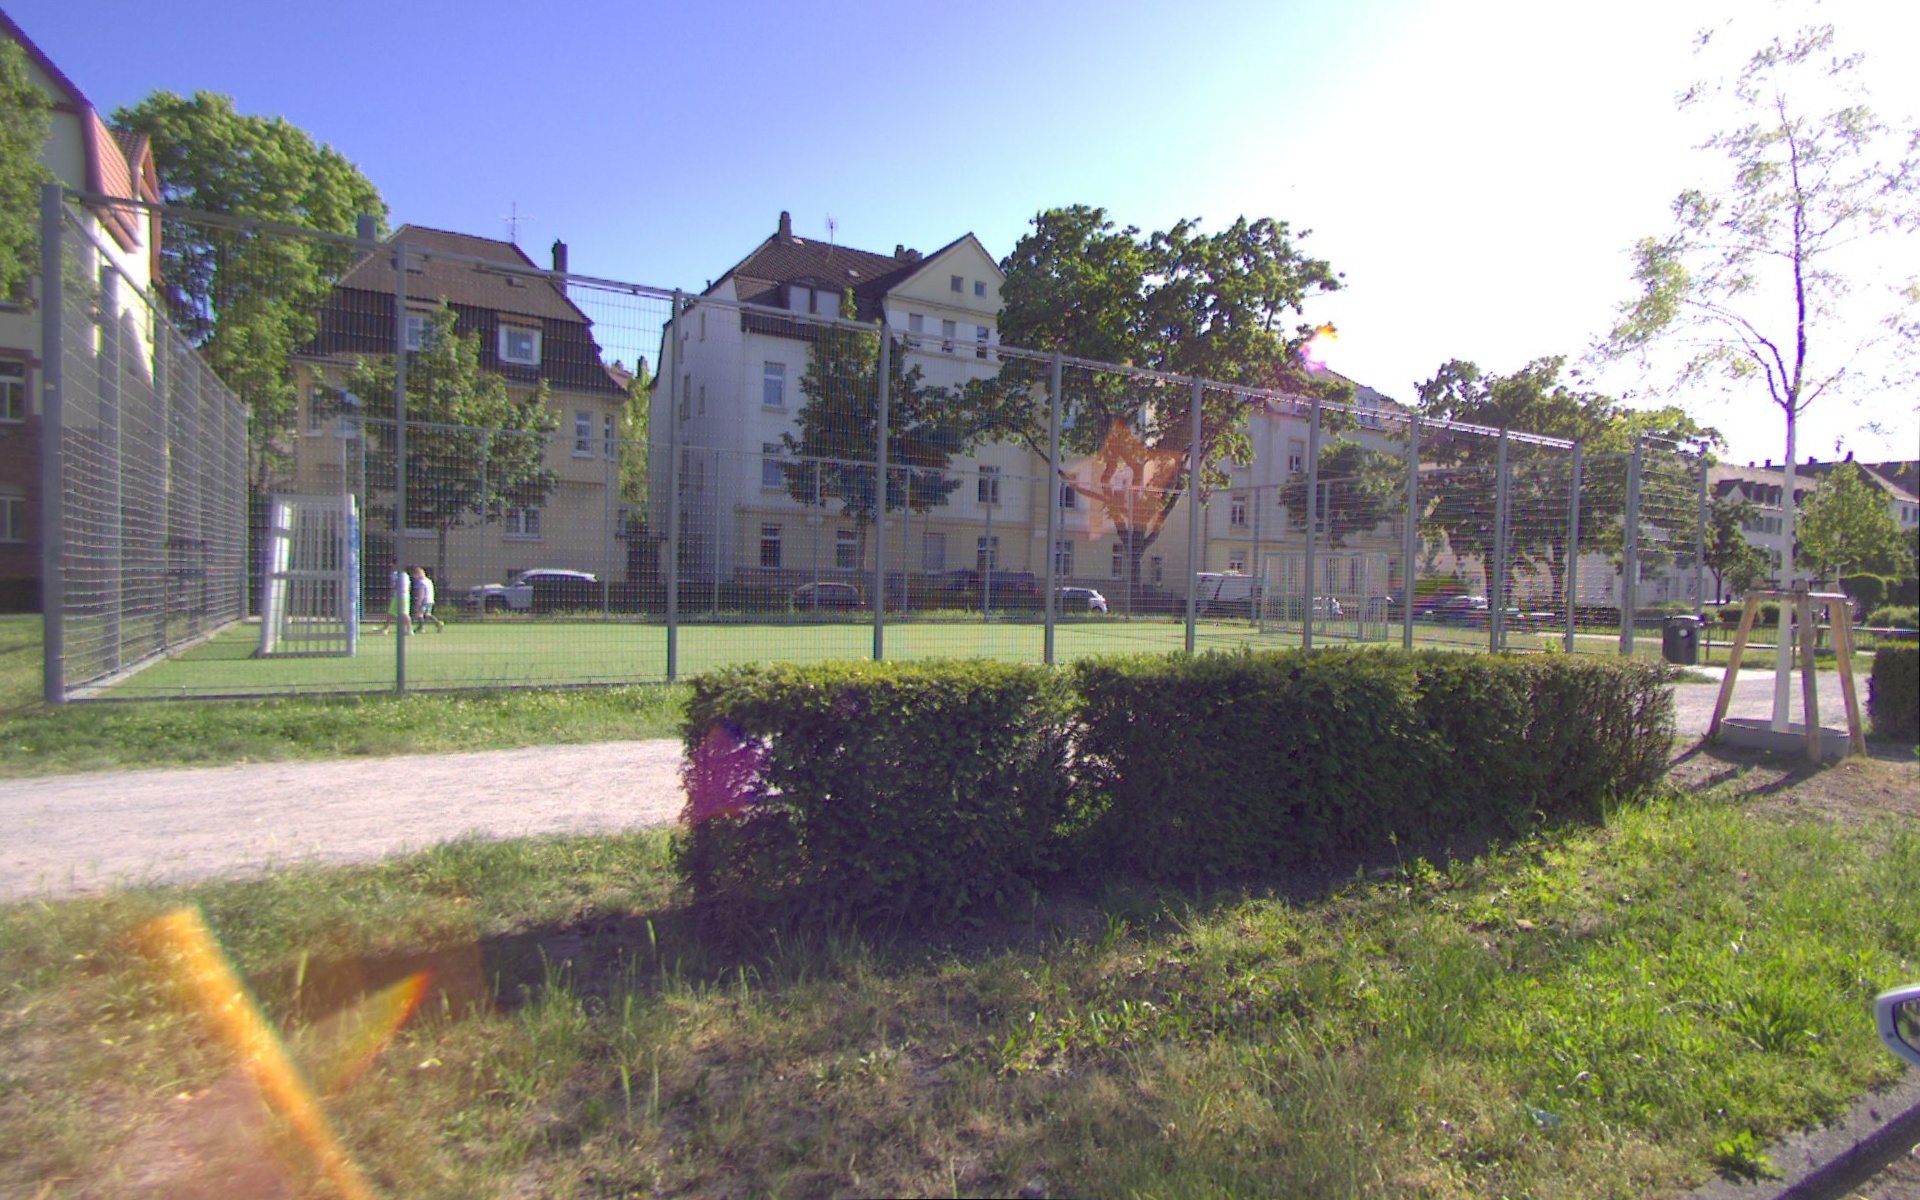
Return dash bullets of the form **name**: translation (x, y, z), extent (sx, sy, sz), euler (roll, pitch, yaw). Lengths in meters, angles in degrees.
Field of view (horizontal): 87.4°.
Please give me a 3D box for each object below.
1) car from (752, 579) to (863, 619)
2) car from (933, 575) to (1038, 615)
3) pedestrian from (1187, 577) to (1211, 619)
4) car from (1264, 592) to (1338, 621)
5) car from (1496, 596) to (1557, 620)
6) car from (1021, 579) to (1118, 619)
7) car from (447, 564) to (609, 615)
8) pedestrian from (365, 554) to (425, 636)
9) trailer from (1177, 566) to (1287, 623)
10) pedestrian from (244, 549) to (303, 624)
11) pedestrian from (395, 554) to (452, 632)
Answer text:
- **car**: translation (-6.310, -0.052, 41.572), extent (4.182, 1.531, 1.785), euler (1, 2, -30)
- **car**: translation (1.053, -0.201, 41.331), extent (3.953, 1.531, 1.785), euler (1, 2, -30)
- **pedestrian**: translation (9.779, -0.093, 41.095), extent (0.642, 1.683, 0.645), euler (1, 1, -30)
- **car**: translation (19.344, 0.375, 57.032), extent (3.953, 1.531, 1.785), euler (1, 2, -30)
- **car**: translation (38.383, 0.559, 68.042), extent (3.953, 1.531, 1.785), euler (1, 2, -30)
- **car**: translation (5.284, -0.060, 48.199), extent (4.436, 1.801, 1.785), euler (1, 2, -30)
- **car**: translation (-15.291, -0.361, 35.632), extent (5.121, 1.674, 1.872), euler (1, 2, -30)
- **pedestrian**: translation (-9.500, -0.096, 16.908), extent (0.637, 1.336, 0.650), euler (2, 2, -1)
- **trailer**: translation (14.685, -0.283, 54.175), extent (5.736, 2.909, 2.331), euler (1, 2, -31)
- **pedestrian**: translation (-12.676, -0.255, 18.574), extent (0.637, 1.336, 0.650), euler (2, 2, -1)
- **pedestrian**: translation (-9.433, -0.132, 17.686), extent (0.637, 1.336, 0.650), euler (2, 2, -1)
